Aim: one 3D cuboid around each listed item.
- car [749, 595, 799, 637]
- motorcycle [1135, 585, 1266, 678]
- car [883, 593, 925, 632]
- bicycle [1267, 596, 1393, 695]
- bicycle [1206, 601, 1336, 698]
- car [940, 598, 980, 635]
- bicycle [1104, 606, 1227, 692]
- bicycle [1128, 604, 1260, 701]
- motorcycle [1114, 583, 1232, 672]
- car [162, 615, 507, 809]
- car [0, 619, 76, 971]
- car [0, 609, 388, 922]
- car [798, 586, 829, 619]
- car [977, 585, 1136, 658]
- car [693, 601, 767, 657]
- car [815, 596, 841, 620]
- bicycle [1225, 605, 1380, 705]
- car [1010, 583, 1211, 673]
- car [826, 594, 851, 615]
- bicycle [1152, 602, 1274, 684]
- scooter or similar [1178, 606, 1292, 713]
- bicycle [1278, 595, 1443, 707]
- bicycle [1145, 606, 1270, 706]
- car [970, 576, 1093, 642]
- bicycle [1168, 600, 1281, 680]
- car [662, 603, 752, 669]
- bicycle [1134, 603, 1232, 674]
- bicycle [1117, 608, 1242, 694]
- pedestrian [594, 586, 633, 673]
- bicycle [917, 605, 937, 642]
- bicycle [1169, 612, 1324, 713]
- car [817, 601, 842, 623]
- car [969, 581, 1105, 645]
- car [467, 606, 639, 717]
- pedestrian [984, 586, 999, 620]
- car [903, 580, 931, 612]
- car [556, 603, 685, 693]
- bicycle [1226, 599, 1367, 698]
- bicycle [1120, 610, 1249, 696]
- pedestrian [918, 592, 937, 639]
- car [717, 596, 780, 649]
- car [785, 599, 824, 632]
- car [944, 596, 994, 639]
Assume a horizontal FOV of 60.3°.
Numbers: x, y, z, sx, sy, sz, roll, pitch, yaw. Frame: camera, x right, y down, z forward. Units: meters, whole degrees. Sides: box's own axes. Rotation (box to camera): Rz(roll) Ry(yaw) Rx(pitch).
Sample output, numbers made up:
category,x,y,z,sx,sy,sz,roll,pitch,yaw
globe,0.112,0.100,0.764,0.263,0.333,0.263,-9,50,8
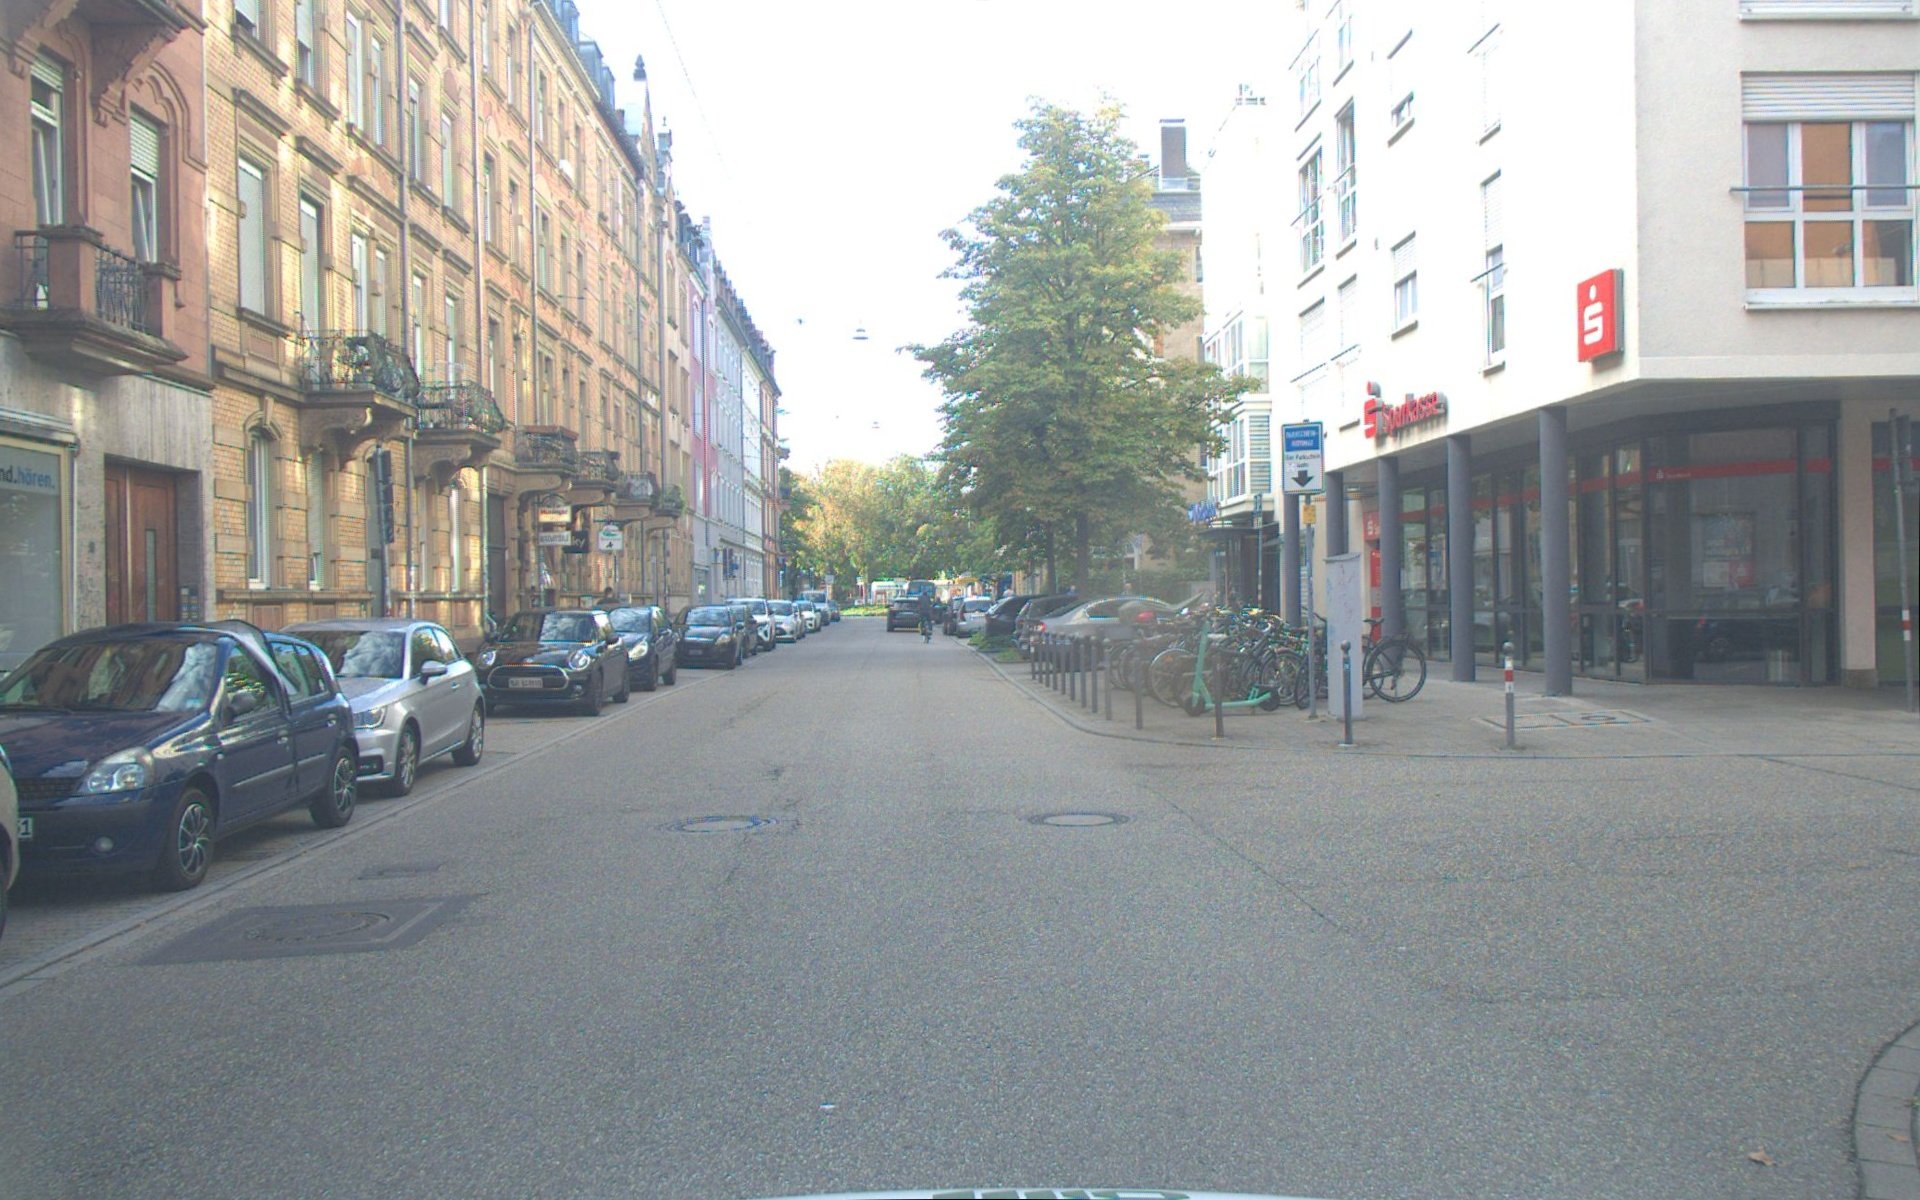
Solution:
category,x,y,z,sx,sy,sz,roll,pitch,yaw
car,-7.191,0.599,64.128,1.656,1.577,3.865,0,0,-3
motorcycle,4.153,0.535,28.680,2.106,1.459,0.765,-3,1,2
car,-2.664,0.625,78.269,1.925,1.771,4.039,-1,-1,-2
bicycle,4.746,0.577,21.255,1.465,1.166,0.411,-3,0,-2
bicycle,4.195,0.649,22.275,1.741,1.166,0.408,-4,1,-23
car,-0.022,0.700,71.382,1.656,1.577,3.687,0,0,-1
bicycle,3.141,0.744,25.344,1.757,1.179,0.500,-3,1,0
bicycle,3.163,0.698,22.300,1.741,1.166,0.408,-4,1,-23
motorcycle,4.075,0.523,31.695,2.106,1.557,0.686,-3,1,2
car,-5.305,0.869,14.564,1.656,1.411,3.866,0,0,-2
car,-4.968,0.861,5.775,1.706,1.509,3.982,0,0,-2
car,-5.060,0.842,10.286,1.706,1.509,3.982,0,0,-2
car,-8.439,0.163,95.529,1.656,1.853,3.865,0,0,-3
car,2.476,0.525,42.477,3.904,1.611,2.001,-3,0,3
car,-6.530,0.801,47.206,1.656,1.393,3.865,3,0,-3
car,-8.853,0.526,111.130,1.656,1.577,3.865,0,0,-3
bicycle,4.224,0.672,20.450,1.729,1.106,0.650,-3,1,0
car,3.051,0.558,33.806,3.695,1.573,1.725,-3,-1,-13
car,-9.749,0.386,133.044,1.817,1.649,3.999,0,0,-1
bicycle,3.944,0.673,25.783,1.758,1.179,0.500,-3,1,24
scooter or similar,3.184,0.697,19.152,1.183,1.167,0.378,-3,1,30
bicycle,4.685,0.591,19.421,1.729,1.182,0.650,-3,1,0
bicycle,3.165,0.706,21.148,1.467,1.166,0.411,-4,1,-7
car,2.353,0.280,54.718,3.905,1.712,1.739,-3,8,2
bicycle,4.277,0.646,26.789,1.697,1.179,0.500,-3,1,-1
car,-6.073,0.834,40.070,1.656,1.393,3.865,3,0,-3
bicycle,4.041,0.693,30.020,1.630,1.179,0.557,-3,1,-1
bicycle,3.234,0.748,24.411,1.729,1.138,0.411,-3,0,0
pedestrian,-7.552,0.630,36.057,0.675,1.886,0.931,0,0,-1
bicycle,-1.177,0.849,59.548,0.703,1.296,1.883,0,0,-1
bicycle,3.421,0.737,19.774,1.732,1.075,0.411,-4,1,-7
car,-9.641,0.863,121.959,1.555,1.566,3.752,0,0,0
car,2.310,0.374,49.604,3.904,1.668,2.001,-3,0,3
car,-5.704,0.810,23.597,1.656,1.411,3.865,0,0,-3
pedestrian,2.088,0.200,109.636,0.975,2.269,0.898,0,0,-1
car,-2.808,-0.250,107.961,1.746,2.055,3.885,0,0,-3
car,-5.997,0.800,29.579,1.656,1.462,3.865,0,0,-3
bicycle,4.431,0.630,21.781,1.733,1.166,0.411,-4,1,-8
bicycle,3.201,0.753,23.665,1.729,1.118,0.411,-3,0,0
pedestrian,-1.173,0.541,59.507,0.703,1.679,0.930,0,0,-1
car,-6.649,0.677,52.337,1.656,1.577,3.865,0,0,-3
car,-7.457,0.734,79.632,1.656,1.577,3.865,0,0,-3
car,0.345,0.684,66.858,1.891,1.667,3.999,0,0,-2
